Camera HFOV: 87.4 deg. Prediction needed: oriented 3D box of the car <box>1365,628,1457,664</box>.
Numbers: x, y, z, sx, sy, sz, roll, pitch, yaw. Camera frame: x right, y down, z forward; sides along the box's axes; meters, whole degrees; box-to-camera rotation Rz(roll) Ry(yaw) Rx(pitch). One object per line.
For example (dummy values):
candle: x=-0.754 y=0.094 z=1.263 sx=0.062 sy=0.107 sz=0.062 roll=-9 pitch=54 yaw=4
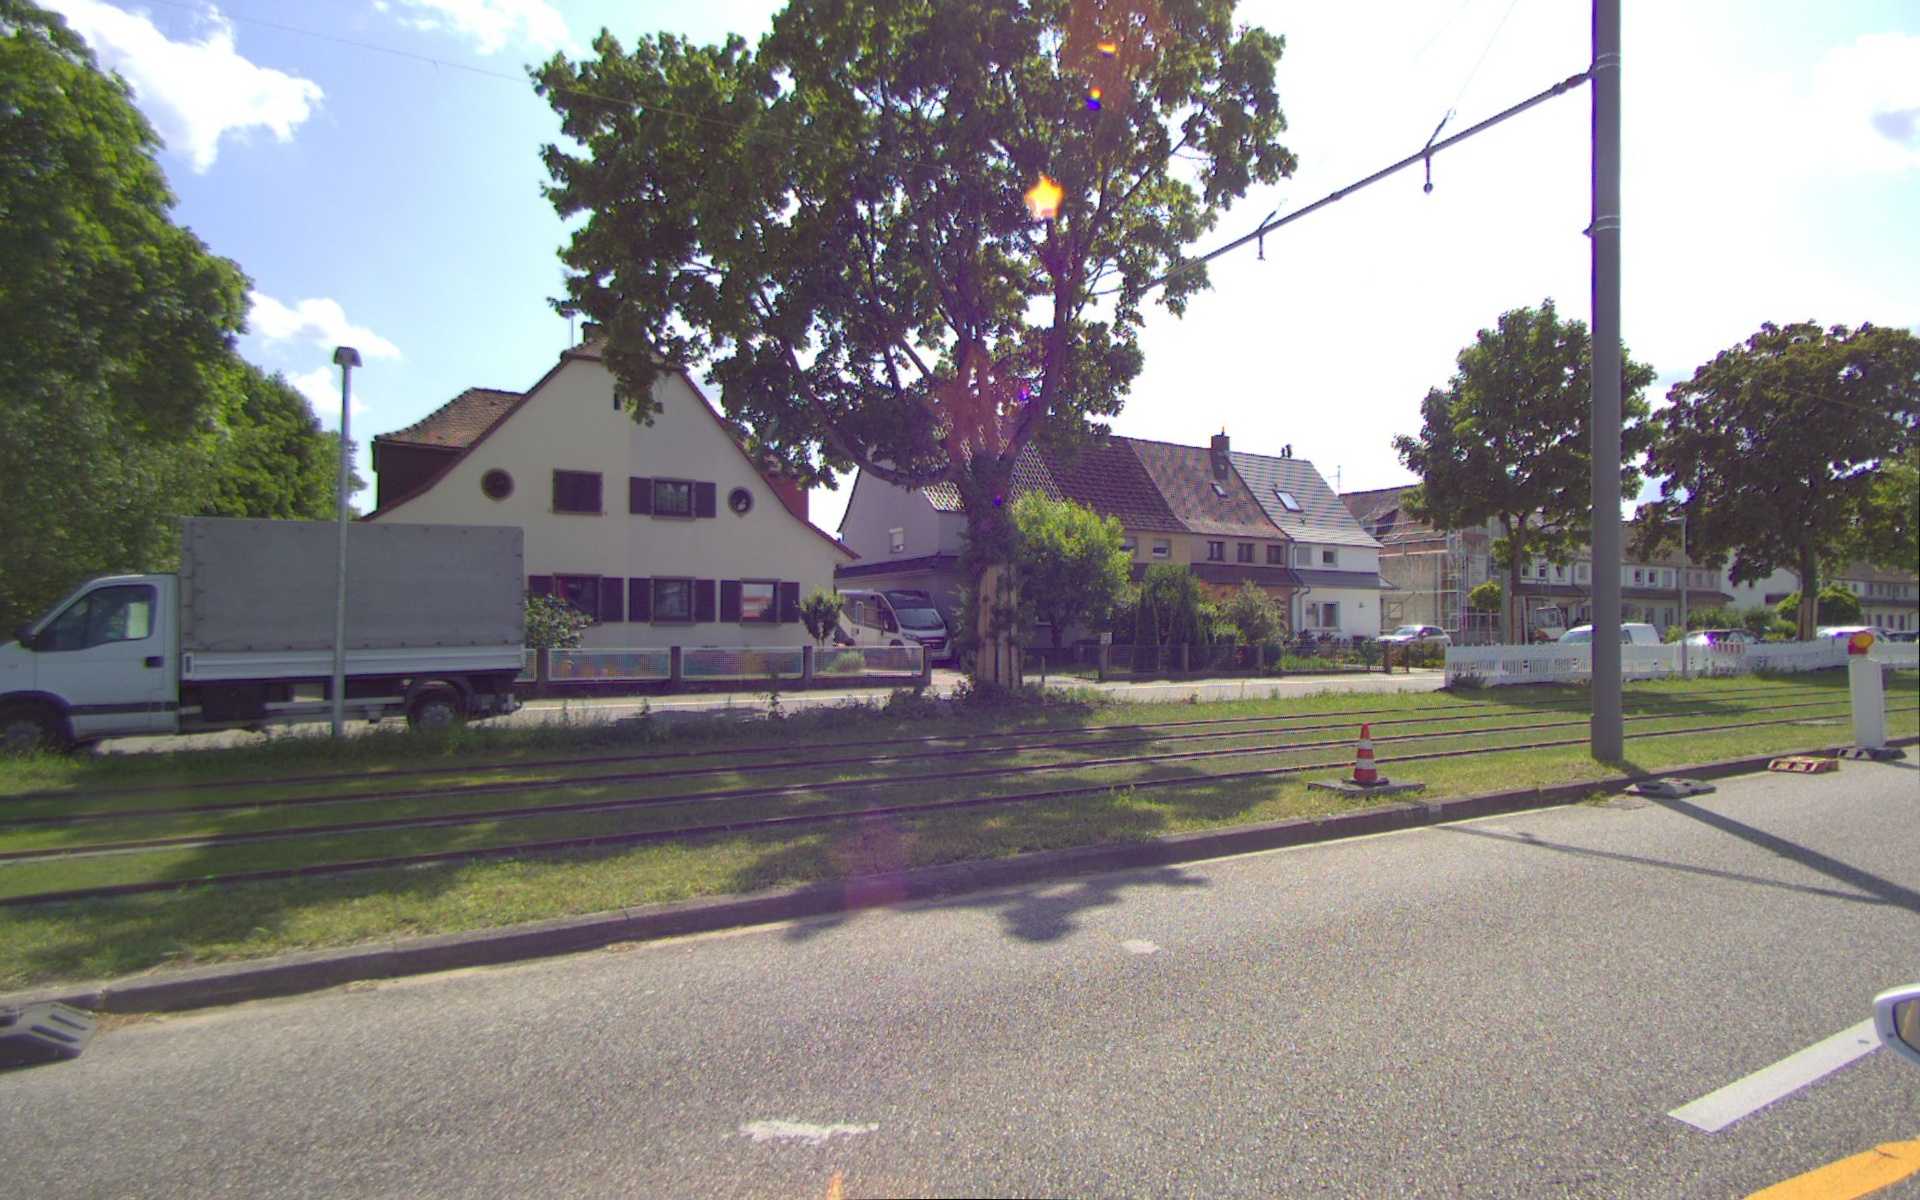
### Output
car: x=19.992 y=1.996 z=44.496 sx=3.952 sy=1.539 sz=1.768 roll=1 pitch=-2 yaw=-30

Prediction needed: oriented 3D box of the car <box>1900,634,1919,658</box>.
car: x=70.035 y=3.311 z=72.745 sx=4.079 sy=1.745 sz=1.768 roll=1 pitch=-2 yaw=-30

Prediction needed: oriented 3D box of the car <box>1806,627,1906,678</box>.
car: x=35.364 y=2.036 z=39.640 sx=4.079 sy=1.892 sz=1.768 roll=1 pitch=-2 yaw=-30

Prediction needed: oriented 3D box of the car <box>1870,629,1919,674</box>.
car: x=40.648 y=2.170 z=42.696 sx=4.079 sy=1.829 sz=1.768 roll=1 pitch=-2 yaw=-30

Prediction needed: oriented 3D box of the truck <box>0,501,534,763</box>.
truck: x=-8.833 y=0.408 z=12.972 sx=5.906 sy=2.817 sz=2.255 roll=1 pitch=-2 yaw=-31

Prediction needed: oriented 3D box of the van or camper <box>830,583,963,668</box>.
van or camper: x=-2.431 y=0.942 z=36.615 sx=2.269 sy=2.801 sz=6.051 roll=1 pitch=-2 yaw=-32

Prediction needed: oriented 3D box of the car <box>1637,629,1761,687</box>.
car: x=24.293 y=1.842 z=33.001 sx=4.177 sy=1.797 sz=1.768 roll=1 pitch=-2 yaw=-30

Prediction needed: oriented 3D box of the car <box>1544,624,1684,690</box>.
car: x=19.571 y=1.649 z=30.028 sx=4.312 sy=1.845 sz=1.768 roll=1 pitch=-2 yaw=-30
